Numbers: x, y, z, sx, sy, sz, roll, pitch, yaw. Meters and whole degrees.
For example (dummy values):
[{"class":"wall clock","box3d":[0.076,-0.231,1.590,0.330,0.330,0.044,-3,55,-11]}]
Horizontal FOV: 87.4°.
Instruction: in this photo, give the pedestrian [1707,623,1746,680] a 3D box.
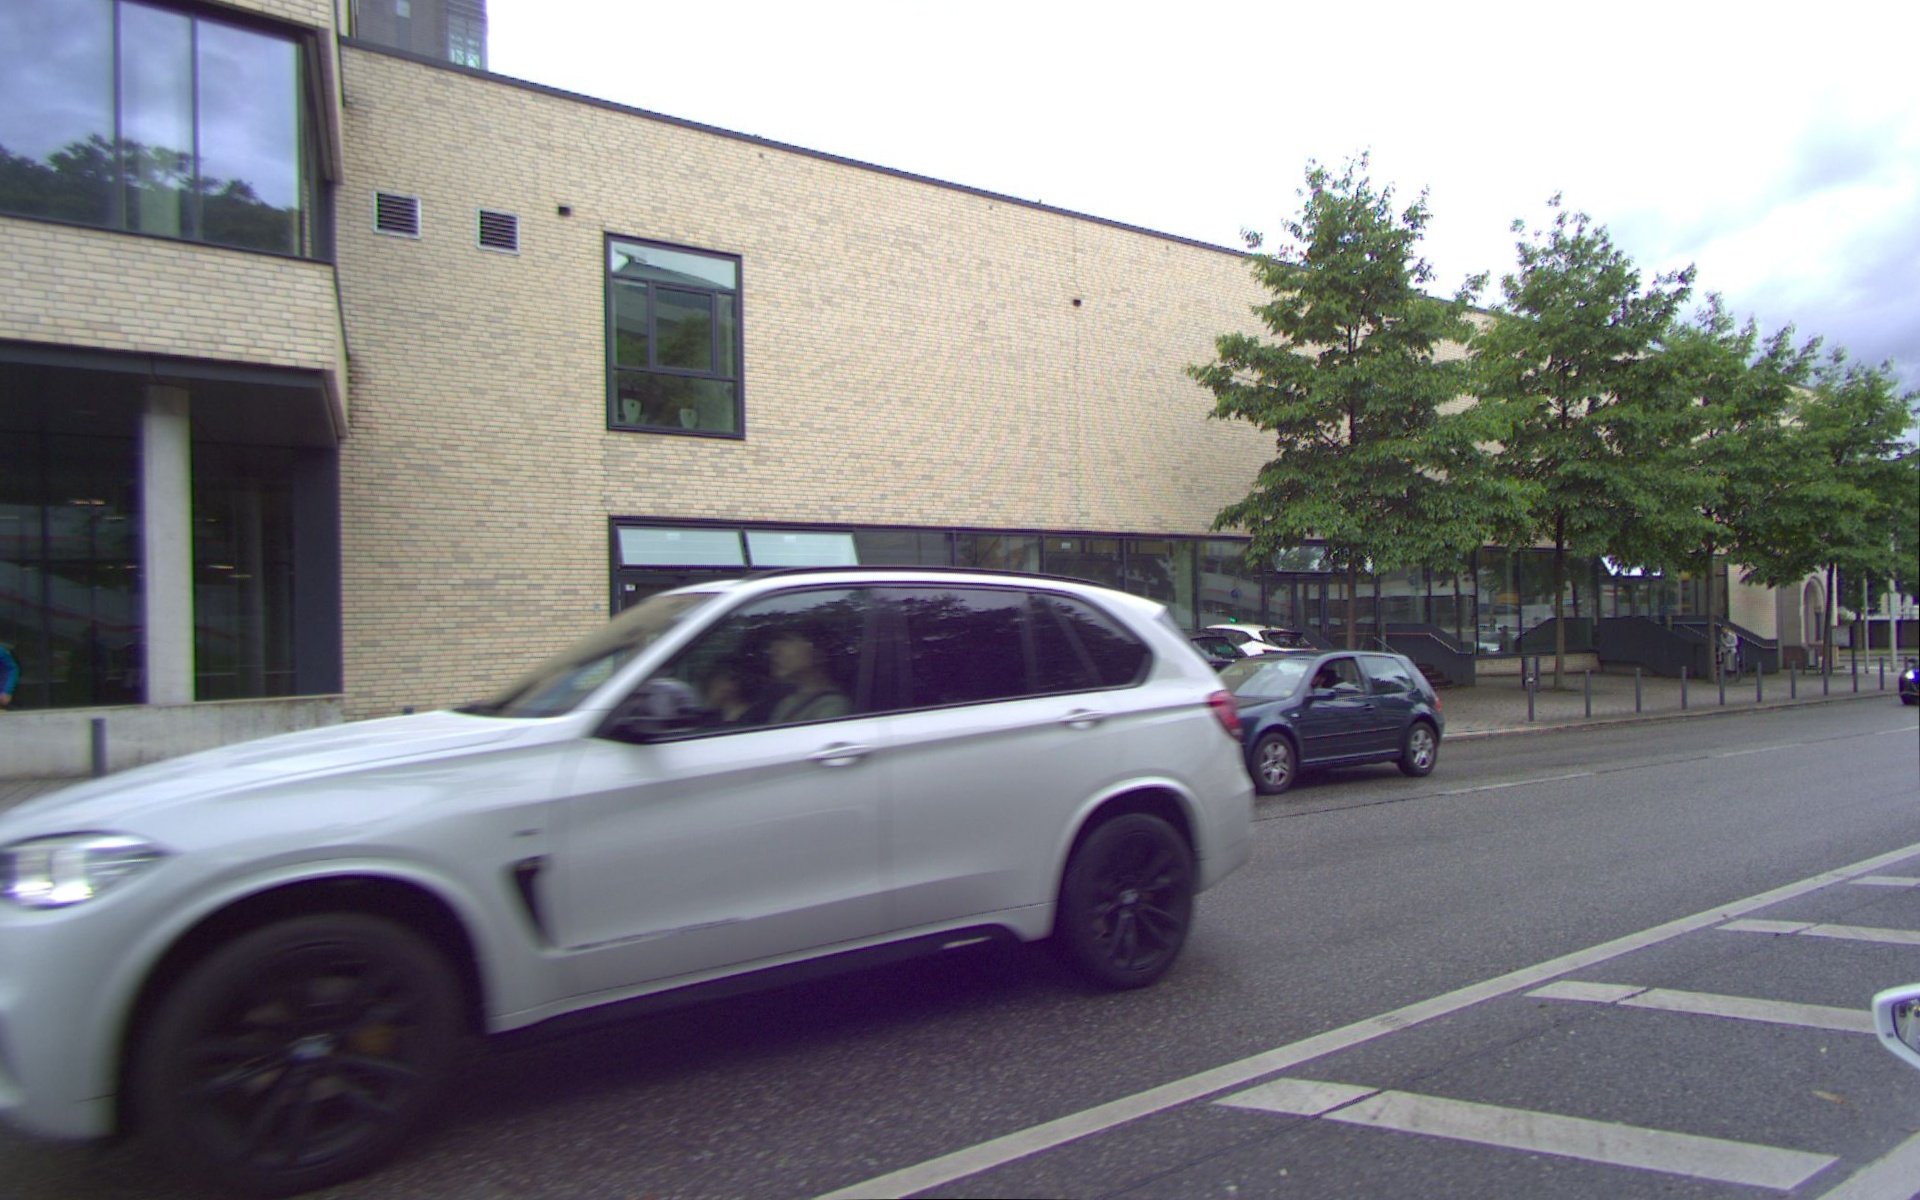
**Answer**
[{"class":"pedestrian","box3d":[23.305,1.553,30.540,1.009,1.688,0.638,2,0,-36]}]

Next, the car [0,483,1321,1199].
[{"class":"car","box3d":[-0.725,0.757,4.266,4.525,1.835,1.881,2,-4,-33]}]

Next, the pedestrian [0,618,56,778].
[{"class":"pedestrian","box3d":[-10.870,1.084,11.349,0.691,1.737,0.637,2,0,2]}]

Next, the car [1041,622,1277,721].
[{"class":"car","box3d":[3.650,1.269,19.062,1.981,1.514,4.147,2,0,-36]}]

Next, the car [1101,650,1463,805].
[{"class":"car","box3d":[3.647,1.294,11.232,3.927,1.430,1.736,1,-4,-32]}]

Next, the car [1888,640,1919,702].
[{"class":"car","box3d":[23.763,1.636,23.699,4.154,1.412,1.723,2,-4,-33]}]

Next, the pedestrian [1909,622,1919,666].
[{"class":"pedestrian","box3d":[34.458,1.579,35.961,0.535,1.554,0.440,-1,-1,1]}]

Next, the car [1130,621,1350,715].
[{"class":"car","box3d":[5.525,1.293,20.372,1.975,1.568,4.159,2,0,-28]}]

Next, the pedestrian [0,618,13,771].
[{"class":"pedestrian","box3d":[-9.763,0.925,9.908,0.523,1.495,0.438,2,0,-35]}]
